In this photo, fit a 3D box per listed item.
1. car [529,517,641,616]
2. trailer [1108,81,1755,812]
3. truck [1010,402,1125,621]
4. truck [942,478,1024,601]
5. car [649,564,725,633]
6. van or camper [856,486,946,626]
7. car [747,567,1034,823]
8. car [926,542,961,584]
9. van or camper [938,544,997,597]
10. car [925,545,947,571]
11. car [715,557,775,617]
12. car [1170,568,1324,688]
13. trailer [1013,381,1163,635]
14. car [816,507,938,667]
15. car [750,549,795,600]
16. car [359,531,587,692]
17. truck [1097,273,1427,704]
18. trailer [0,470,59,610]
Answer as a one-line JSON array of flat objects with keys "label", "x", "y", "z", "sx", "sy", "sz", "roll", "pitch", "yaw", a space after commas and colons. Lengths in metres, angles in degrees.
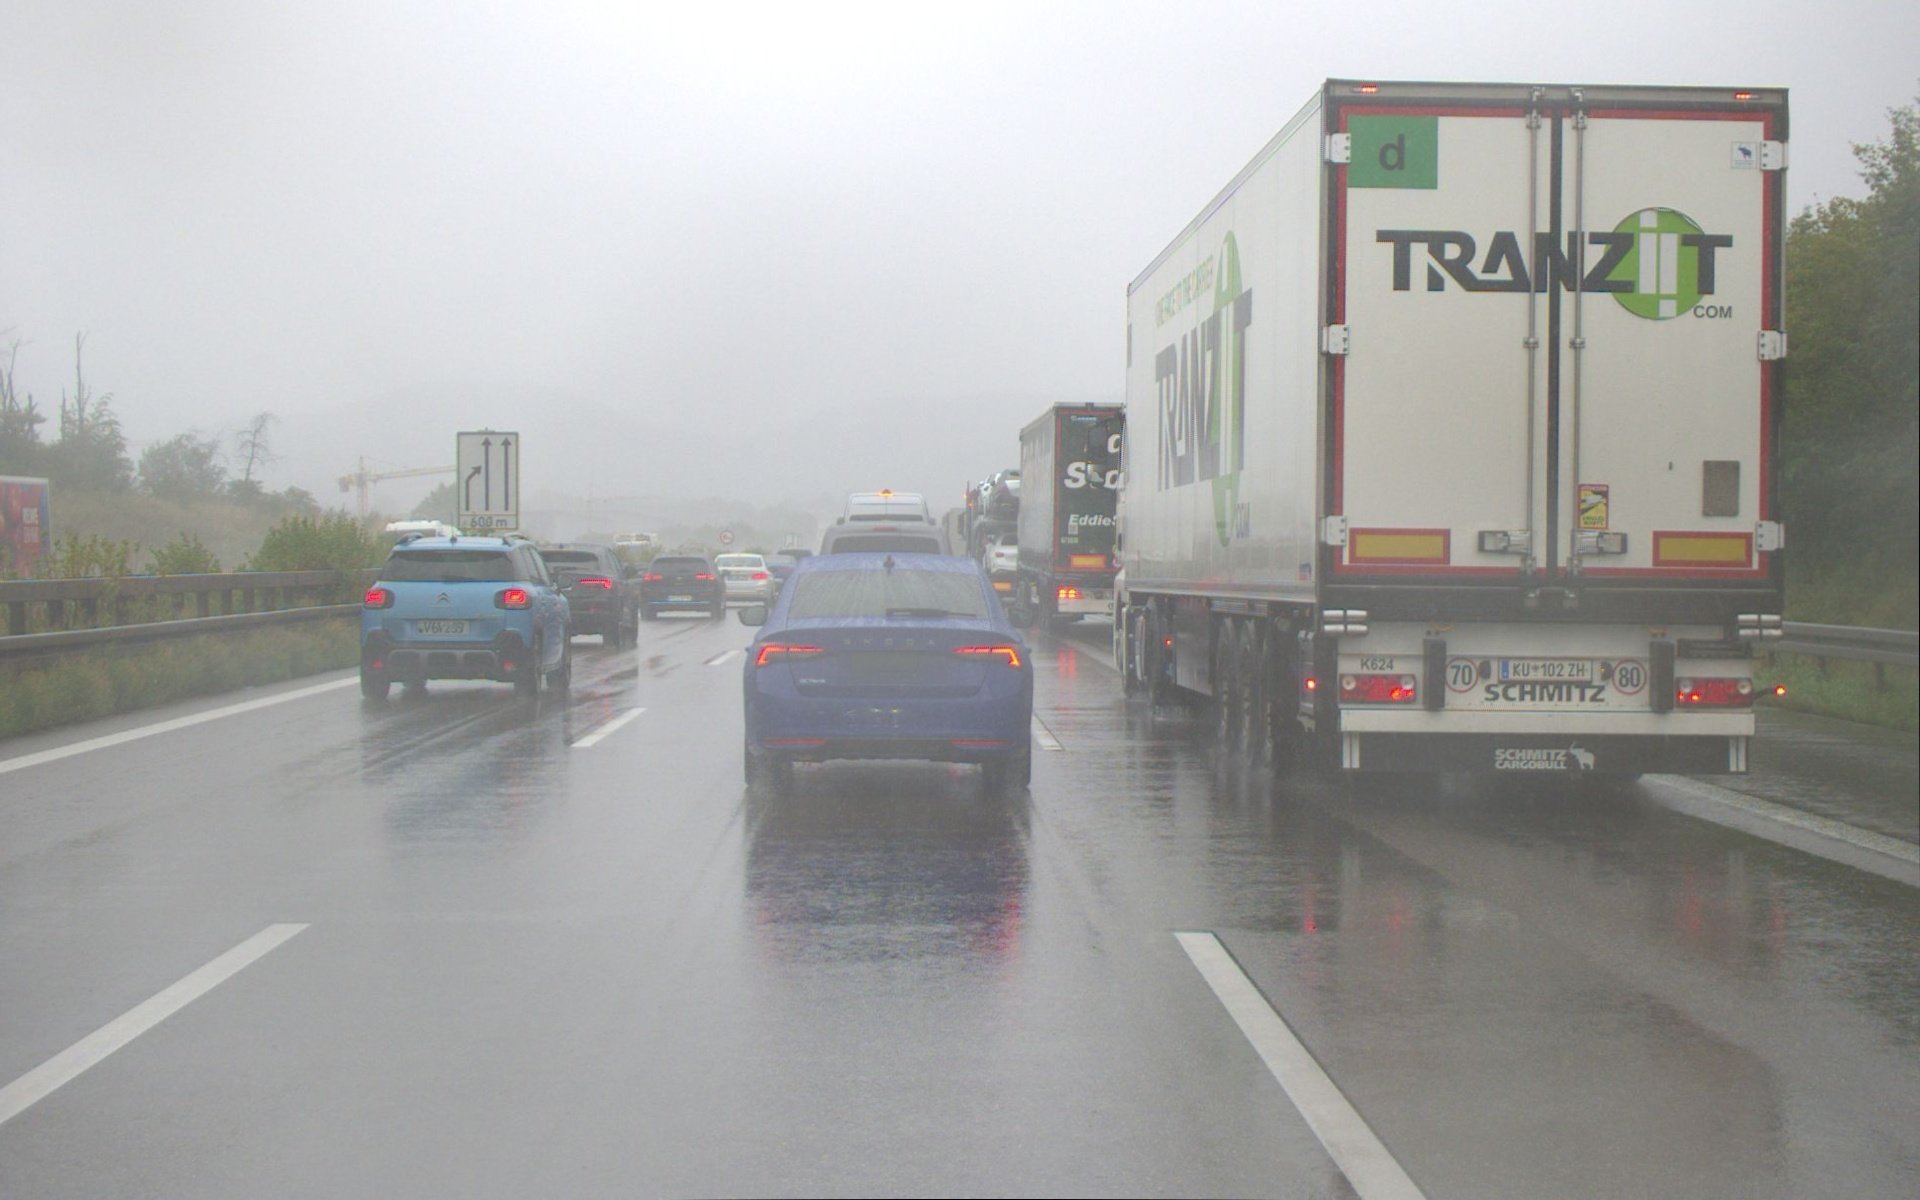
[{"label": "car", "x": -5.581, "y": -0.519, "z": 51.474, "sx": 1.359, "sy": 1.426, "sz": 3.364, "roll": 0, "pitch": 1, "yaw": -1}, {"label": "trailer", "x": 2.905, "y": -0.981, "z": 26.206, "sx": 2.630, "sy": 3.999, "sz": 14.630, "roll": 0, "pitch": 1, "yaw": -1}, {"label": "truck", "x": 2.089, "y": -1.739, "z": 67.862, "sx": 2.047, "sy": 4.178, "sz": 4.000, "roll": 0, "pitch": 1, "yaw": -1}, {"label": "truck", "x": 0.622, "y": -1.795, "z": 100.128, "sx": 1.993, "sy": 3.410, "sz": 8.033, "roll": 0, "pitch": 1, "yaw": -2}, {"label": "car", "x": -5.927, "y": -0.050, "z": 74.900, "sx": 1.439, "sy": 1.415, "sz": 3.322, "roll": 0, "pitch": 1, "yaw": -1}, {"label": "van or camper", "x": -1.237, "y": -0.933, "z": 71.447, "sx": 1.797, "sy": 2.797, "sz": 4.768, "roll": 0, "pitch": 1, "yaw": -1}, {"label": "car", "x": -0.408, "y": 0.522, "z": 21.685, "sx": 1.635, "sy": 1.440, "sz": 4.000, "roll": 0, "pitch": 1, "yaw": 0}, {"label": "car", "x": -0.725, "y": -1.592, "z": 147.922, "sx": 1.448, "sy": 1.777, "sz": 3.409, "roll": 1, "pitch": 1, "yaw": -1}, {"label": "van or camper", "x": 0.231, "y": -0.956, "z": 109.873, "sx": 1.771, "sy": 1.619, "sz": 4.484, "roll": 0, "pitch": 1, "yaw": -1}, {"label": "car", "x": -1.640, "y": -2.898, "z": 236.175, "sx": 1.448, "sy": 1.777, "sz": 3.409, "roll": 1, "pitch": 1, "yaw": -1}, {"label": "car", "x": -5.722, "y": -0.366, "z": 91.661, "sx": 1.439, "sy": 1.528, "sz": 3.322, "roll": 0, "pitch": 1, "yaw": -1}, {"label": "car", "x": 3.268, "y": 0.290, "z": 39.629, "sx": 1.423, "sy": 1.284, "sz": 3.461, "roll": 0, "pitch": 1, "yaw": -1}, {"label": "trailer", "x": 2.192, "y": -1.620, "z": 62.163, "sx": 2.047, "sy": 4.162, "sz": 11.449, "roll": 0, "pitch": 1, "yaw": -1}, {"label": "car", "x": -0.949, "y": -0.175, "z": 39.718, "sx": 1.336, "sy": 1.773, "sz": 3.322, "roll": 0, "pitch": 1, "yaw": -1}, {"label": "car", "x": -6.685, "y": -0.932, "z": 122.800, "sx": 1.448, "sy": 1.777, "sz": 3.409, "roll": 1, "pitch": 1, "yaw": -1}, {"label": "car", "x": -4.821, "y": 0.081, "z": 34.494, "sx": 1.721, "sy": 1.518, "sz": 4.000, "roll": 0, "pitch": 1, "yaw": 0}, {"label": "truck", "x": 2.776, "y": -1.033, "z": 32.914, "sx": 2.630, "sy": 3.814, "sz": 4.791, "roll": 0, "pitch": 1, "yaw": -1}, {"label": "trailer", "x": -22.091, "y": -1.329, "z": 76.370, "sx": 1.993, "sy": 3.071, "sz": 8.873, "roll": 0, "pitch": 1, "yaw": -1}]
